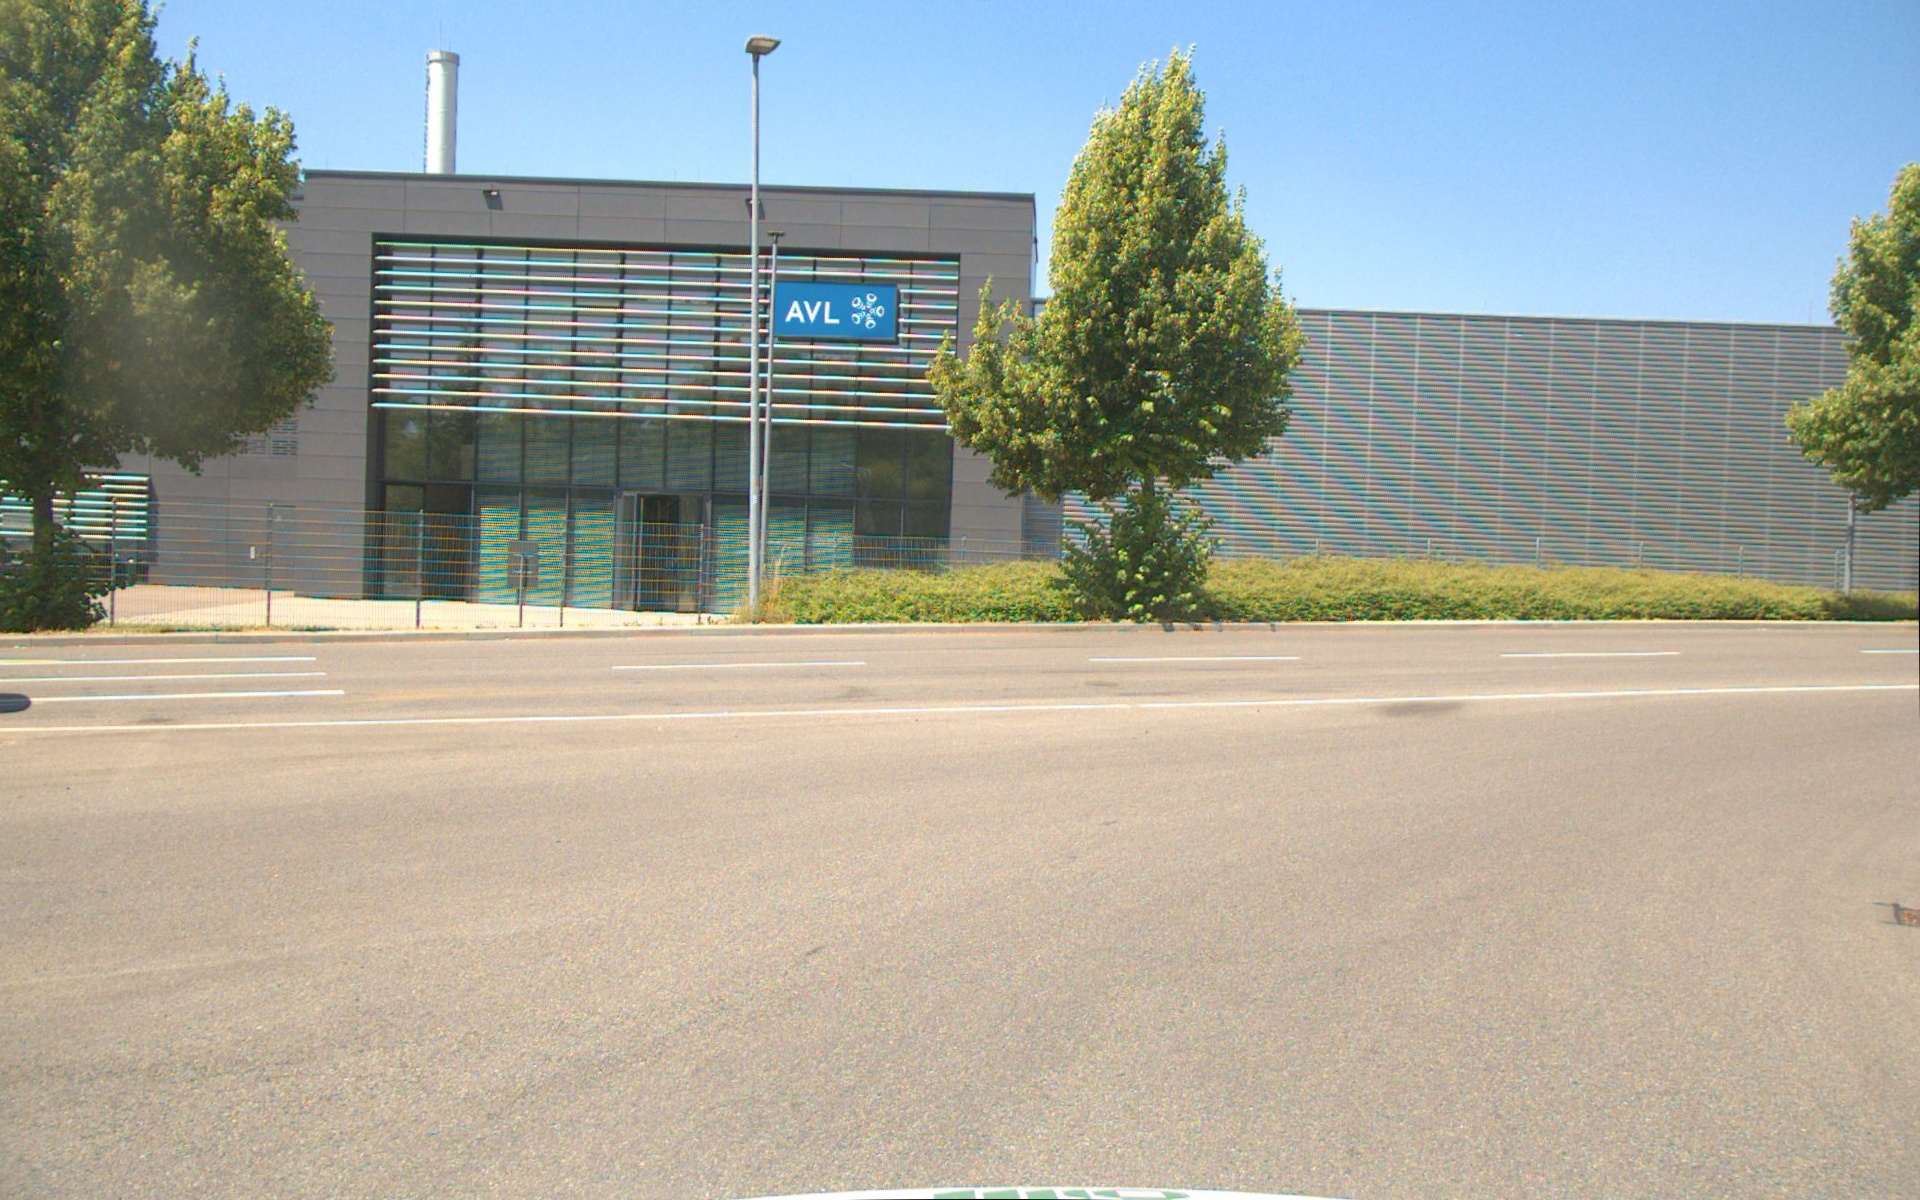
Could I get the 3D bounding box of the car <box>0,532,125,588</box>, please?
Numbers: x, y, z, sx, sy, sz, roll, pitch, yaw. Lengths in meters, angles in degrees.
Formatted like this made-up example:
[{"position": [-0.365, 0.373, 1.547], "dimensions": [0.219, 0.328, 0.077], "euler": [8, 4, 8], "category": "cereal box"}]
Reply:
[{"position": [-25.918, -1.130, 47.421], "dimensions": [1.953, 1.512, 3.999], "euler": [-1, 1, -1], "category": "car"}]
